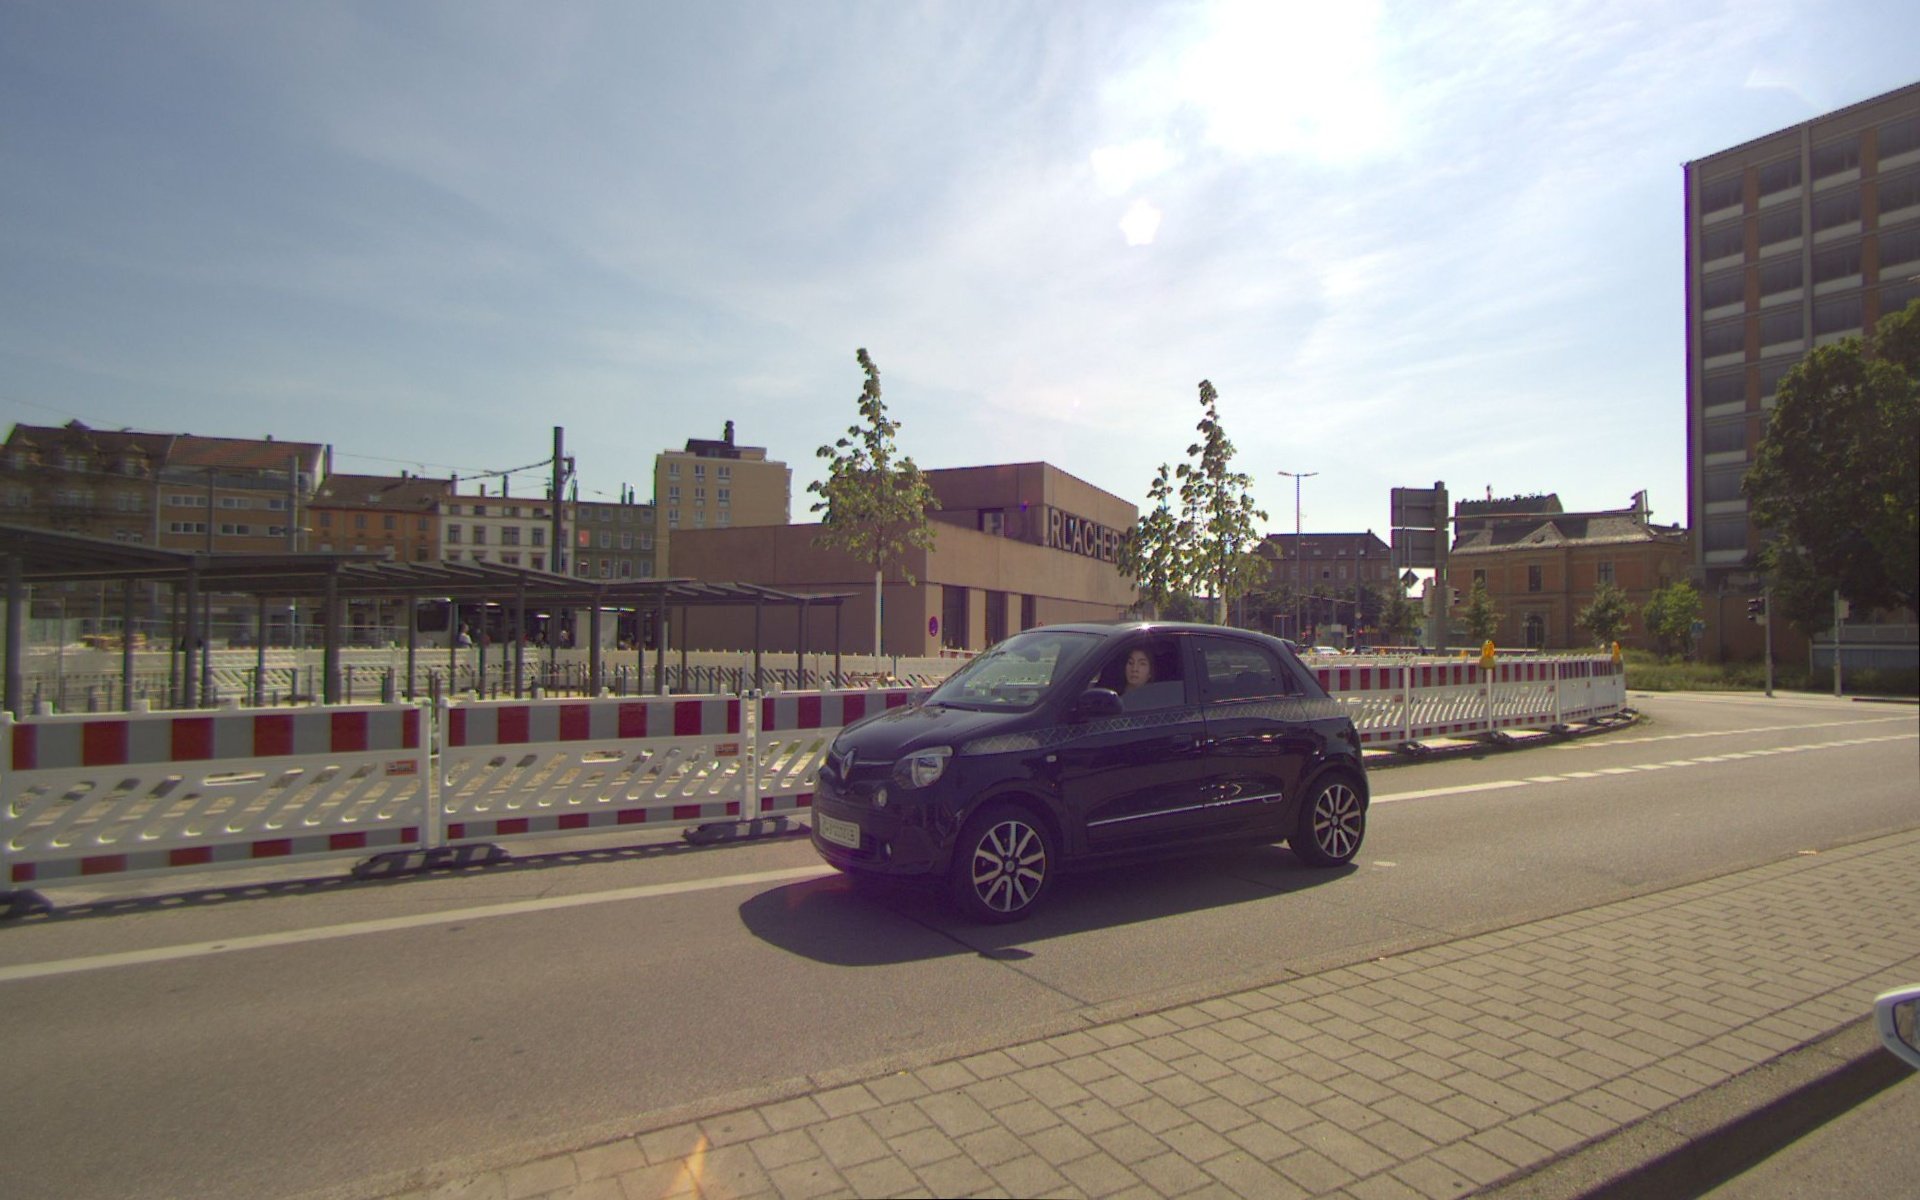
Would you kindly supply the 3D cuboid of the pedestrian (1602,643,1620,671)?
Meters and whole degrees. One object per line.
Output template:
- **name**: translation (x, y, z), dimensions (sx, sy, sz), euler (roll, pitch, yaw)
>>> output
- **pedestrian**: translation (40.298, 3.510, 62.152), dimensions (0.637, 1.683, 0.650), euler (2, 0, -3)

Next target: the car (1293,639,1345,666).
- **car**: translation (25.970, 3.802, 72.806), dimensions (1.963, 1.839, 3.996), euler (1, -2, -7)

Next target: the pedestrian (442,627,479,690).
- **pedestrian**: translation (-12.819, 1.493, 25.763), dimensions (0.564, 1.602, 0.614), euler (-1, -2, 27)

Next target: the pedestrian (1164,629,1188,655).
- **pedestrian**: translation (18.186, 3.510, 84.506), dimensions (1.619, 2.040, 1.527), euler (2, 0, -2)

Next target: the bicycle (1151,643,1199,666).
- **bicycle**: translation (18.072, 4.569, 84.475), dimensions (3.672, 1.803, 1.498), euler (2, 0, -1)

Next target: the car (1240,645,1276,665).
- **car**: translation (23.772, 4.365, 80.225), dimensions (1.764, 1.530, 4.001), euler (1, -2, 1)

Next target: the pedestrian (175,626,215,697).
- **pedestrian**: translation (-22.550, 1.804, 29.602), dimensions (0.807, 2.040, 0.684), euler (-1, -3, 35)

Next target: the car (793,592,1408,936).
- **car**: translation (0.933, 0.848, 6.323), dimensions (3.590, 1.594, 1.653), euler (1, -4, -30)
